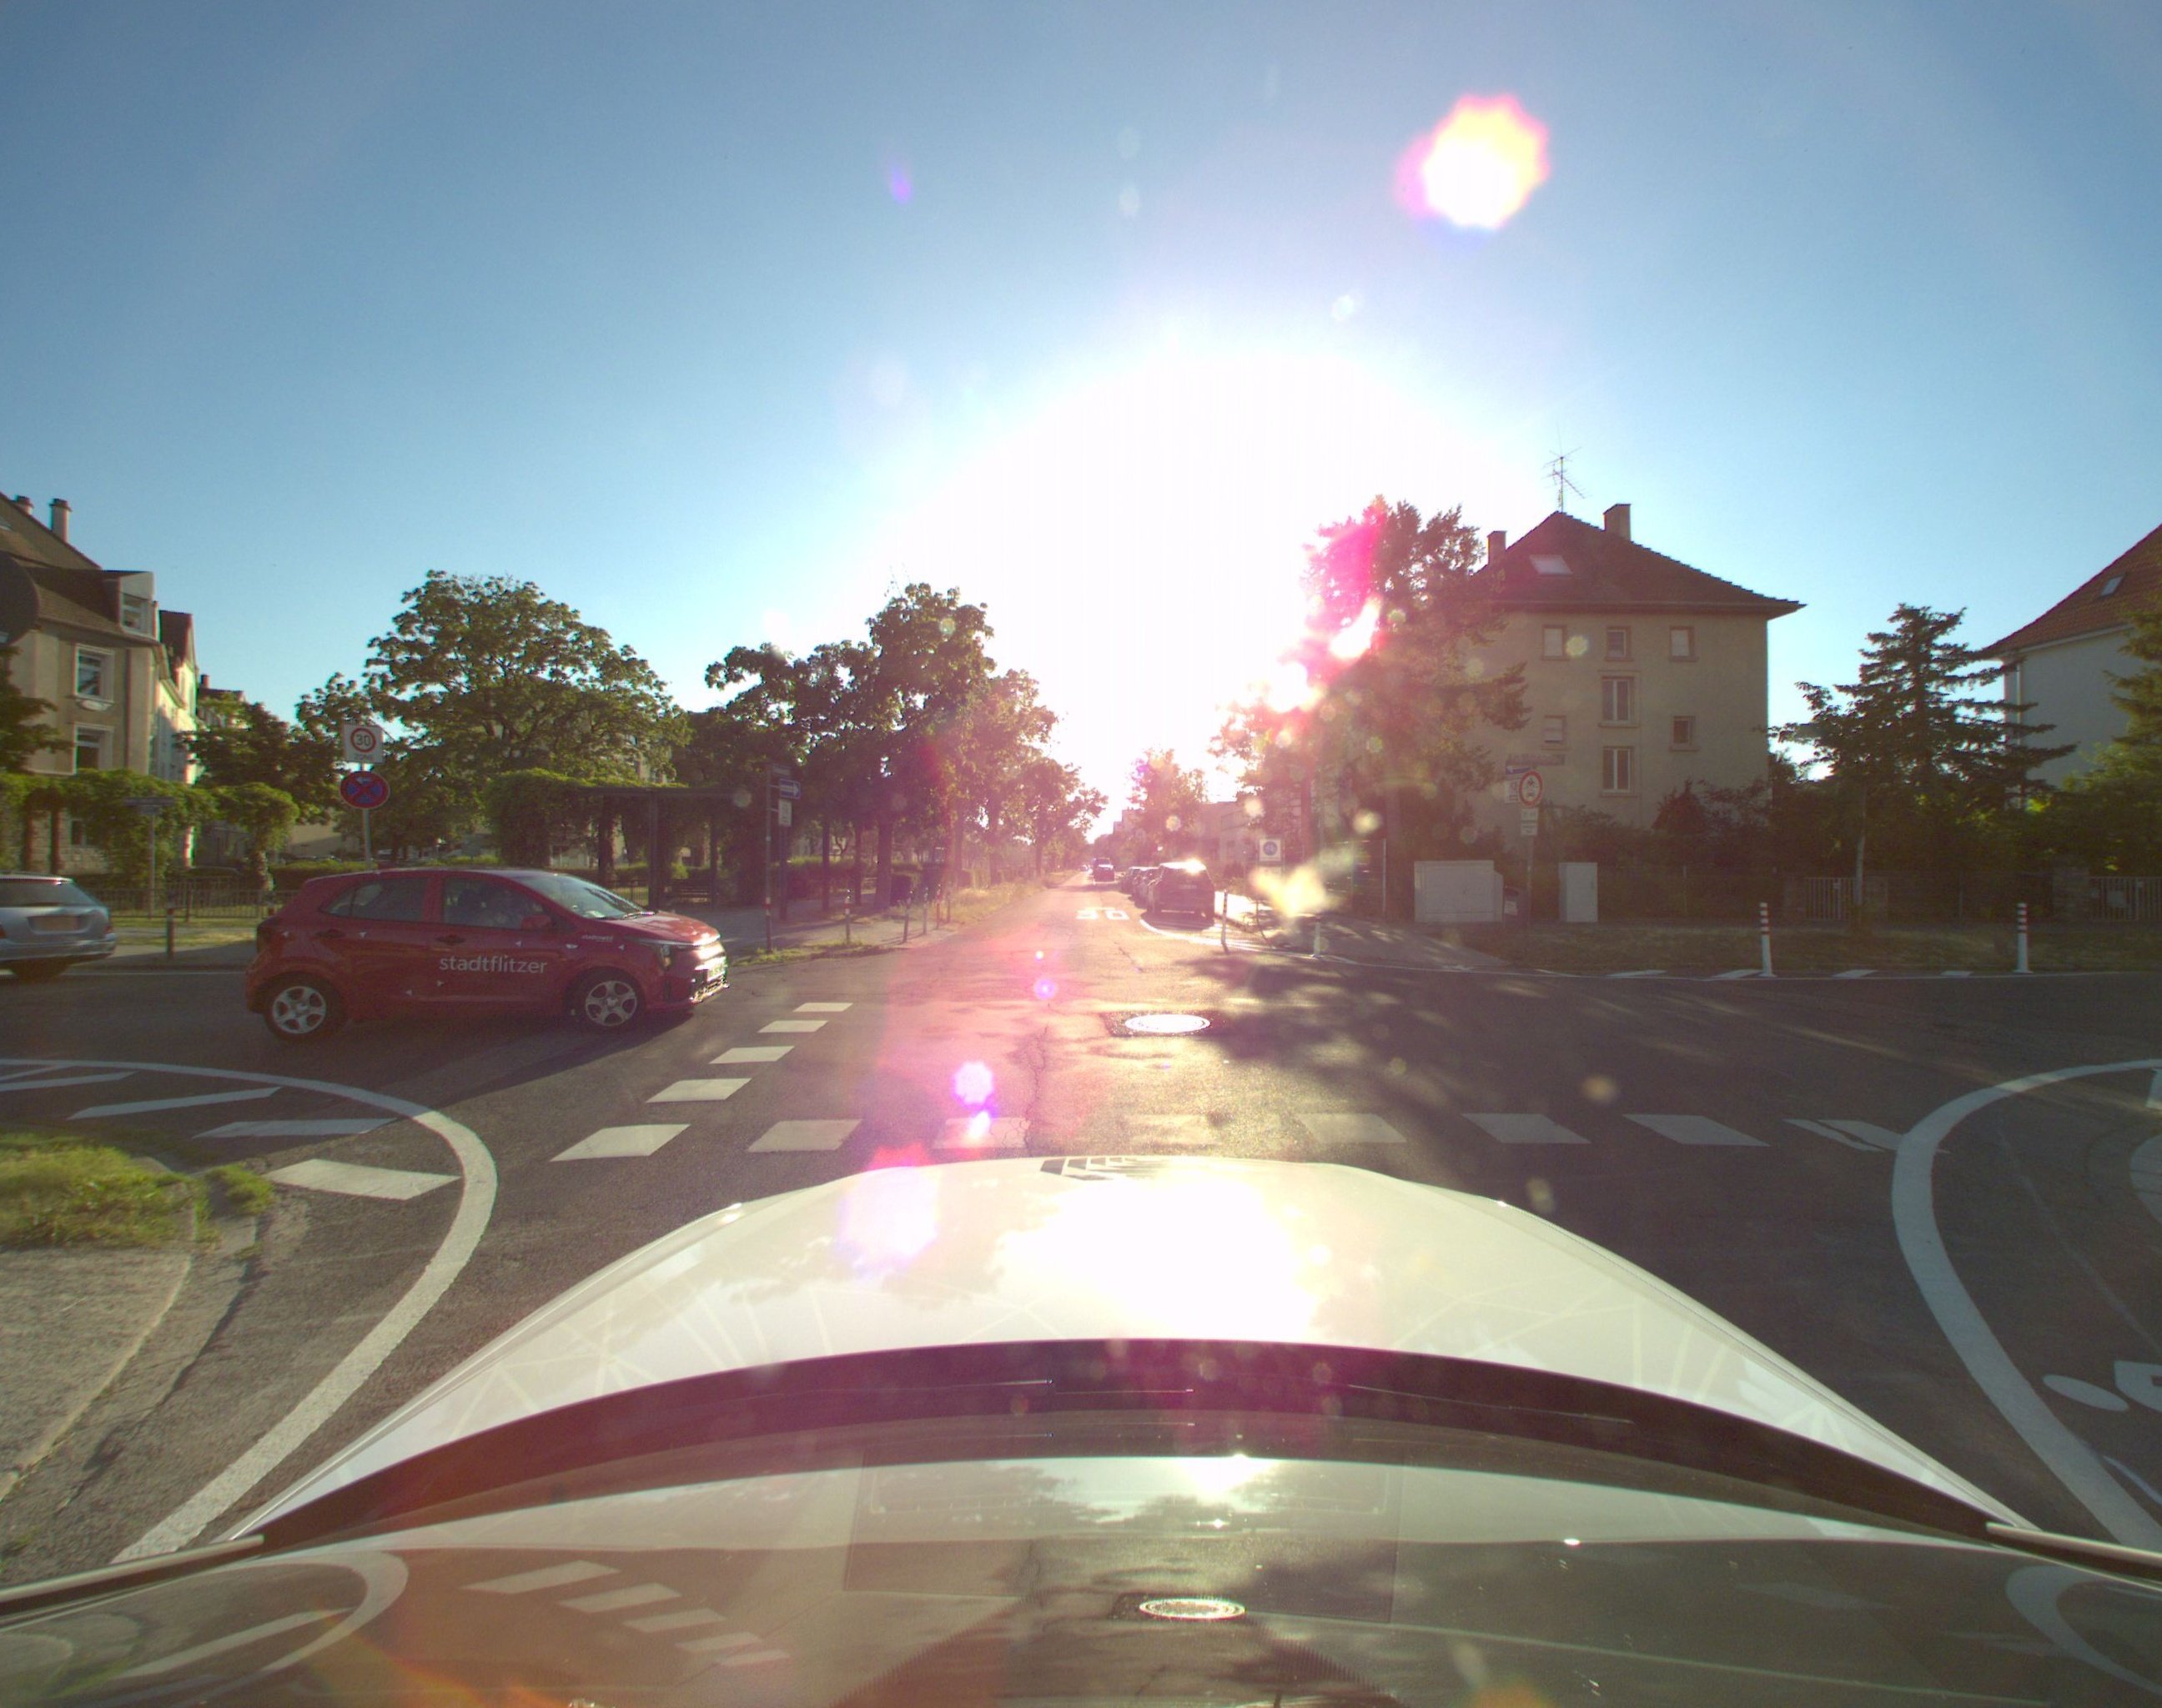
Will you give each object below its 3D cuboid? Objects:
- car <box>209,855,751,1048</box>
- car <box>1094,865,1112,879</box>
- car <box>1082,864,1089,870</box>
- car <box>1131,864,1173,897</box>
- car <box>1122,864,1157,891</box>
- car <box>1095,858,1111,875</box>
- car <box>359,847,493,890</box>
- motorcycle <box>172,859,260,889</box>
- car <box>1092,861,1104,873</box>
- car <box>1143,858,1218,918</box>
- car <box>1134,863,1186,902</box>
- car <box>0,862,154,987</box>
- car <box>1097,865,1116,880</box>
[{"bbox_3d":[-5.398,0.820,7.798,3.755,1.526,1.767,-1,-1,-6],"label":"car"},{"bbox_3d":[2.374,1.917,87.903,1.725,1.518,3.757,0,-1,-2],"label":"car"},{"bbox_3d":[1.281,3.682,230.815,1.860,1.618,3.998,0,-1,-1],"label":"car"},{"bbox_3d":[3.377,1.255,39.265,1.724,1.518,3.759,0,-1,0],"label":"car"},{"bbox_3d":[3.453,1.384,48.515,1.760,1.526,3.771,-1,-1,-1],"label":"car"},{"bbox_3d":[2.728,1.558,100.956,1.987,2.124,4.000,0,-1,1],"label":"car"},{"bbox_3d":[-44.195,0.984,55.221,6.707,2.745,2.296,1,-1,-29],"label":"car"},{"bbox_3d":[-45.027,1.057,42.440,3.222,1.487,0.850,-1,-1,-12],"label":"motorcycle"},{"bbox_3d":[2.899,2.270,140.197,1.987,2.124,4.000,0,-1,1],"label":"car"},{"bbox_3d":[3.015,1.022,25.503,1.811,1.641,4.216,3,-1,1],"label":"car"},{"bbox_3d":[3.271,1.166,34.285,1.760,1.526,3.771,-1,-1,-1],"label":"car"},{"bbox_3d":[-14.862,0.856,10.129,4.199,1.473,1.818,0,-1,-7],"label":"car"},{"bbox_3d":[2.576,1.905,83.253,1.752,1.518,3.757,0,-1,-2],"label":"car"}]
